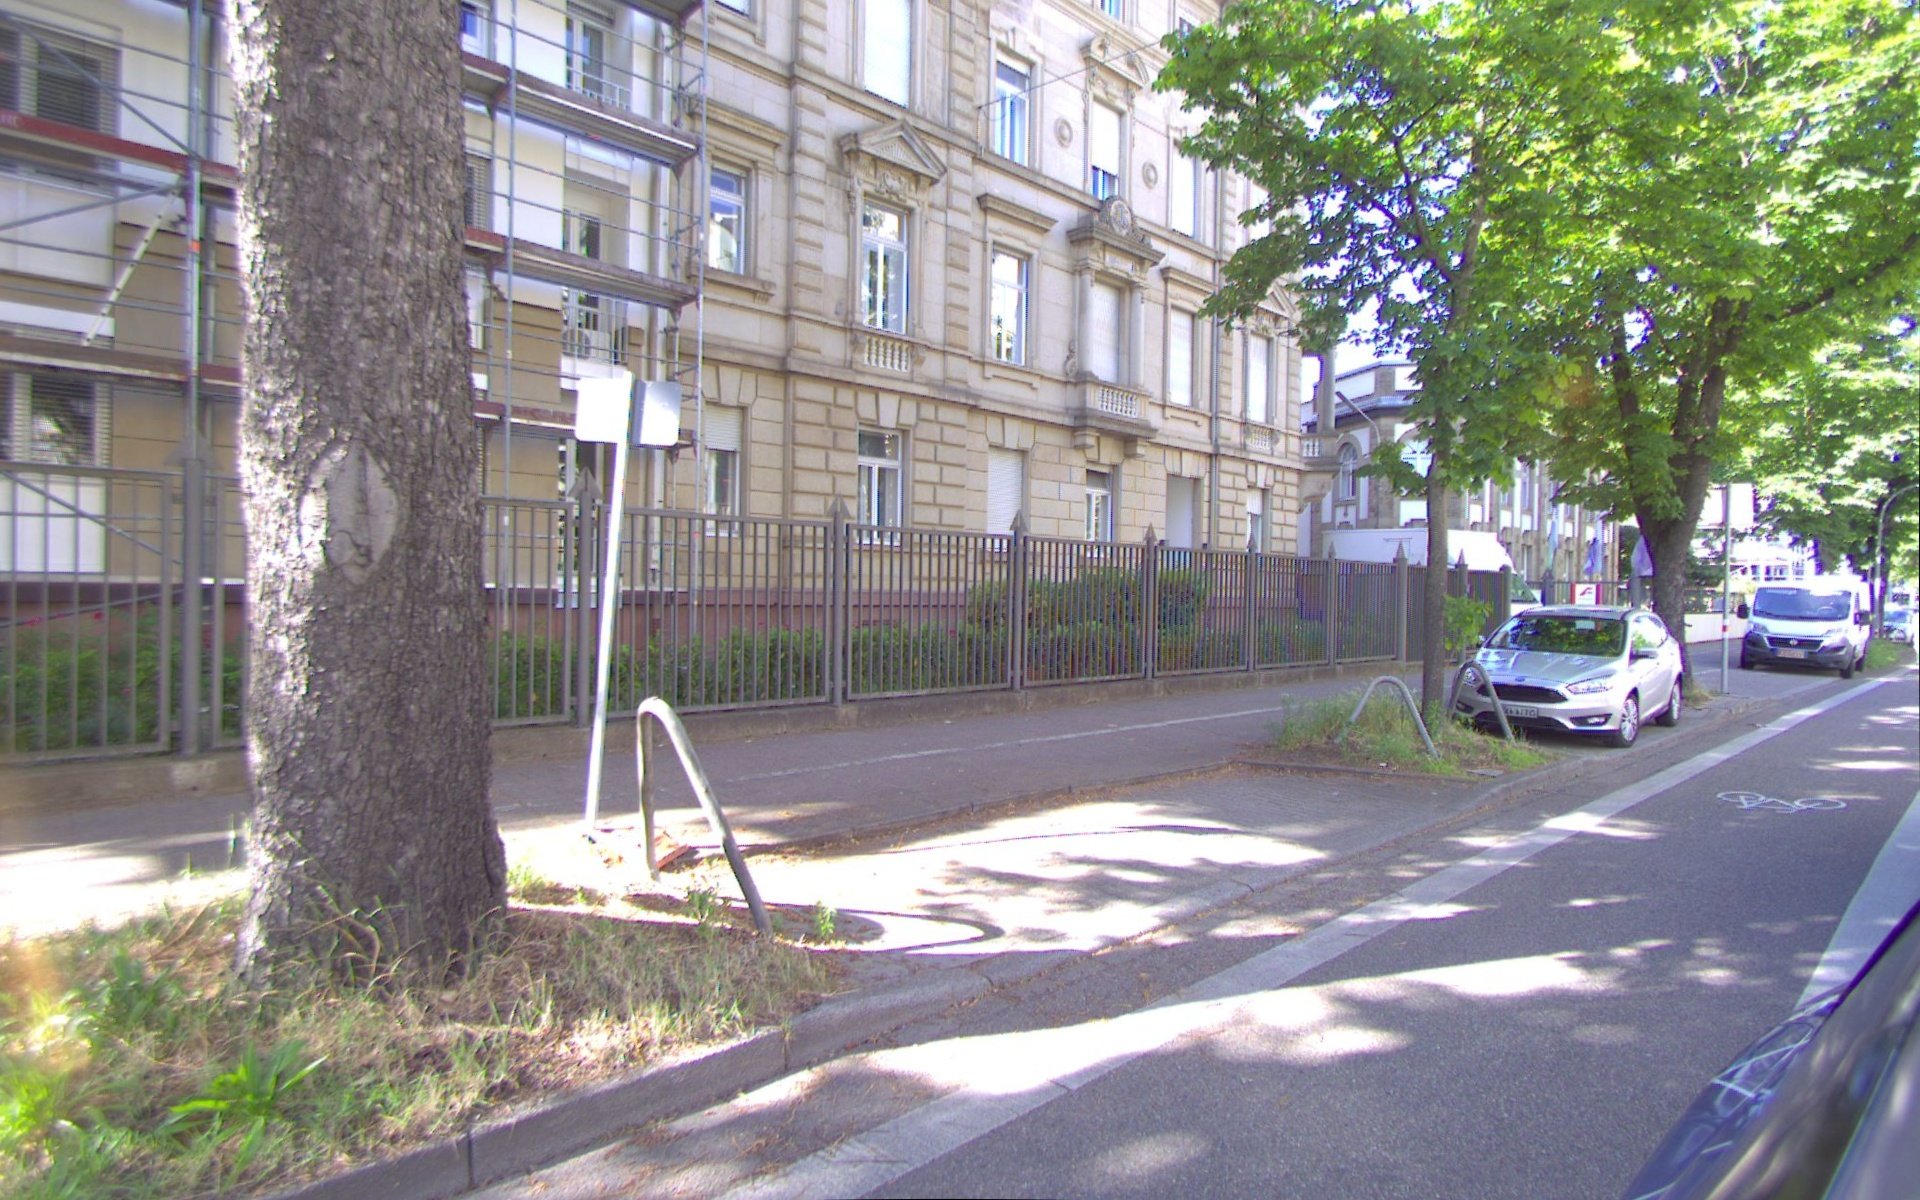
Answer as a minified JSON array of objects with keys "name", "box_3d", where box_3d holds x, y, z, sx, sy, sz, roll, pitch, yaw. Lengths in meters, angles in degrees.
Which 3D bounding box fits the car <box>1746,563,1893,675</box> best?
[{"name":"car","box_3d":[20.974,0.353,24.596,5.710,2.371,2.129,-1,3,-44]}]

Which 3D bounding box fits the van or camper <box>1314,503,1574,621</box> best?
[{"name":"van or camper","box_3d":[12.247,-0.889,26.375,2.078,2.660,6.751,0,0,-17]}]

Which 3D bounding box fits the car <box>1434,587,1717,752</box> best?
[{"name":"car","box_3d":[7.560,0.667,12.248,4.294,1.562,1.874,-1,3,-44]}]

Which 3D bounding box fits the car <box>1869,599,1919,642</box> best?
[{"name":"car","box_3d":[37.430,0.778,40.080,4.035,1.569,1.863,-1,1,-44]}]
